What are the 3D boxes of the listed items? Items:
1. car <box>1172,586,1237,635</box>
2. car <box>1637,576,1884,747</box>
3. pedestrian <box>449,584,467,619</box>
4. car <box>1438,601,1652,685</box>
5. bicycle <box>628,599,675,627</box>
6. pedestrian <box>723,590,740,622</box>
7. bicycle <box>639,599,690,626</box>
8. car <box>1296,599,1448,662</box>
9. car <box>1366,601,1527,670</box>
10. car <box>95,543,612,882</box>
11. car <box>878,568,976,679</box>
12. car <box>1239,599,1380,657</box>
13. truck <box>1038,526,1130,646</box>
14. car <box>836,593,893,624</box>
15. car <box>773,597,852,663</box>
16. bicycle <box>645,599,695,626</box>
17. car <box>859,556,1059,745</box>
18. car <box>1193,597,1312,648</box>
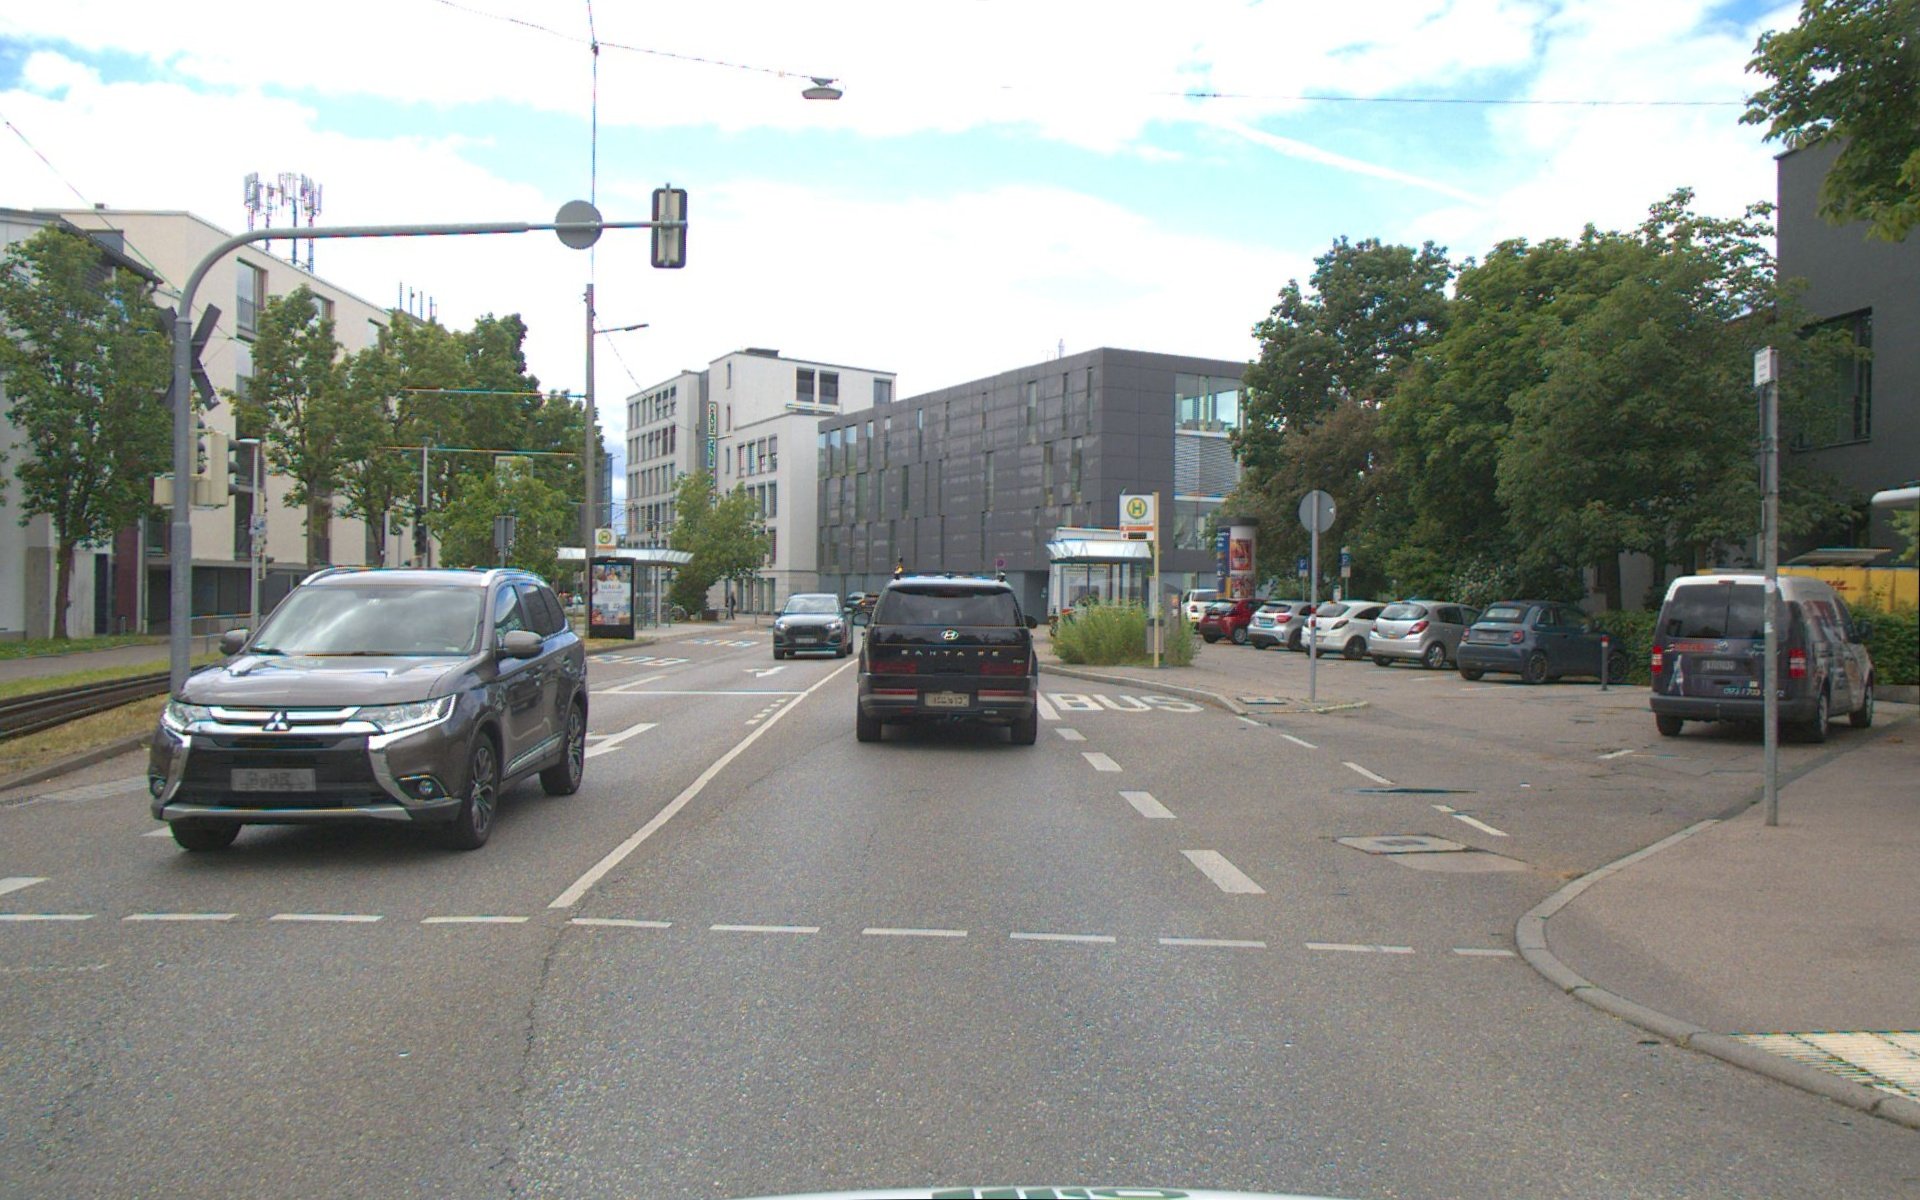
[{"bbox_3d":[9.939,0.442,67.539,1.953,1.870,4.517,-1,-1,-1],"label":"car"},{"bbox_3d":[9.589,0.619,19.607,1.815,1.779,4.676,0,0,37],"label":"car"},{"bbox_3d":[-24.489,0.078,80.738,0.601,1.724,0.785,1,-1,-1],"label":"pedestrian"},{"bbox_3d":[11.228,0.806,31.671,3.949,1.503,1.859,1,0,-33],"label":"car"},{"bbox_3d":[-13.158,0.563,70.545,1.889,1.125,0.587,2,0,1],"label":"bicycle"},{"bbox_3d":[-13.472,0.355,97.556,0.922,1.832,0.589,0,0,-12],"label":"pedestrian"},{"bbox_3d":[-13.017,0.532,72.865,2.055,1.125,0.631,2,0,1],"label":"bicycle"},{"bbox_3d":[10.423,0.762,41.781,3.596,1.460,1.577,-1,-1,-28],"label":"car"},{"bbox_3d":[10.822,0.760,36.746,3.471,1.402,1.531,0,2,-32],"label":"car"},{"bbox_3d":[-3.704,0.617,11.076,1.793,1.699,4.487,4,-1,-1],"label":"car"},{"bbox_3d":[-0.688,0.426,33.235,1.818,2.069,4.435,0,0,-2],"label":"car"},{"bbox_3d":[10.107,0.820,47.770,3.752,1.499,1.780,3,-1,-31],"label":"car"},{"bbox_3d":[3.932,-0.429,53.904,2.520,3.587,7.811,0,0,1],"label":"truck"},{"bbox_3d":[-5.427,0.499,93.483,1.824,1.706,4.342,0,0,-24],"label":"car"},{"bbox_3d":[-3.710,0.733,42.128,1.704,1.586,4.182,0,0,-1],"label":"car"},{"bbox_3d":[-12.907,0.548,73.588,2.055,1.125,0.631,2,0,1],"label":"bicycle"},{"bbox_3d":[-0.109,0.485,18.094,1.877,1.755,4.168,2,0,-3],"label":"car"},{"bbox_3d":[9.385,0.723,53.023,3.453,1.480,1.665,2,-1,-29],"label":"car"}]
